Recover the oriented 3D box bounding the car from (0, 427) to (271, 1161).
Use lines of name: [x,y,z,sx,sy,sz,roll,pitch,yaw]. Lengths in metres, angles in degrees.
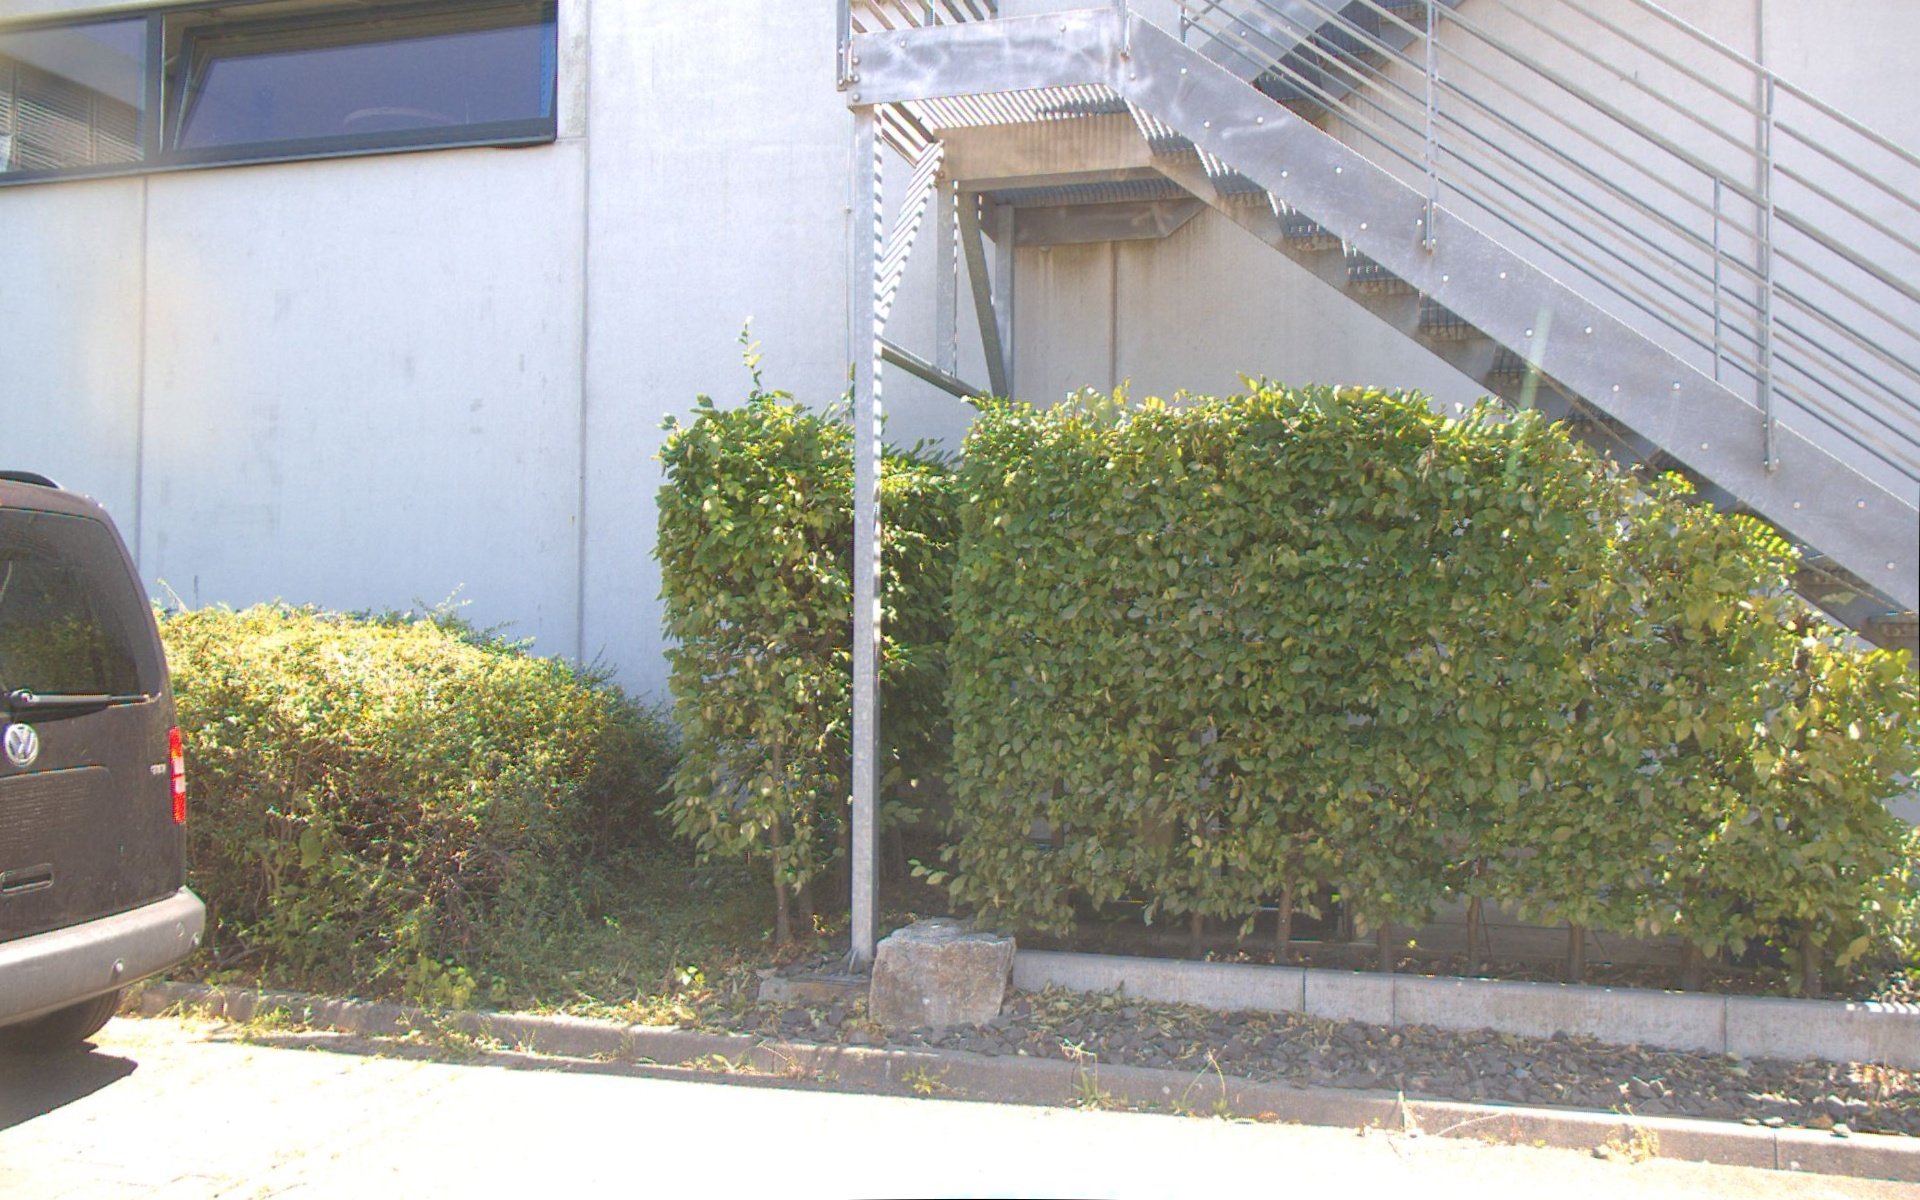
car: [-4.355,0.504,5.065,3.972,1.917,1.680,0,0,17]
